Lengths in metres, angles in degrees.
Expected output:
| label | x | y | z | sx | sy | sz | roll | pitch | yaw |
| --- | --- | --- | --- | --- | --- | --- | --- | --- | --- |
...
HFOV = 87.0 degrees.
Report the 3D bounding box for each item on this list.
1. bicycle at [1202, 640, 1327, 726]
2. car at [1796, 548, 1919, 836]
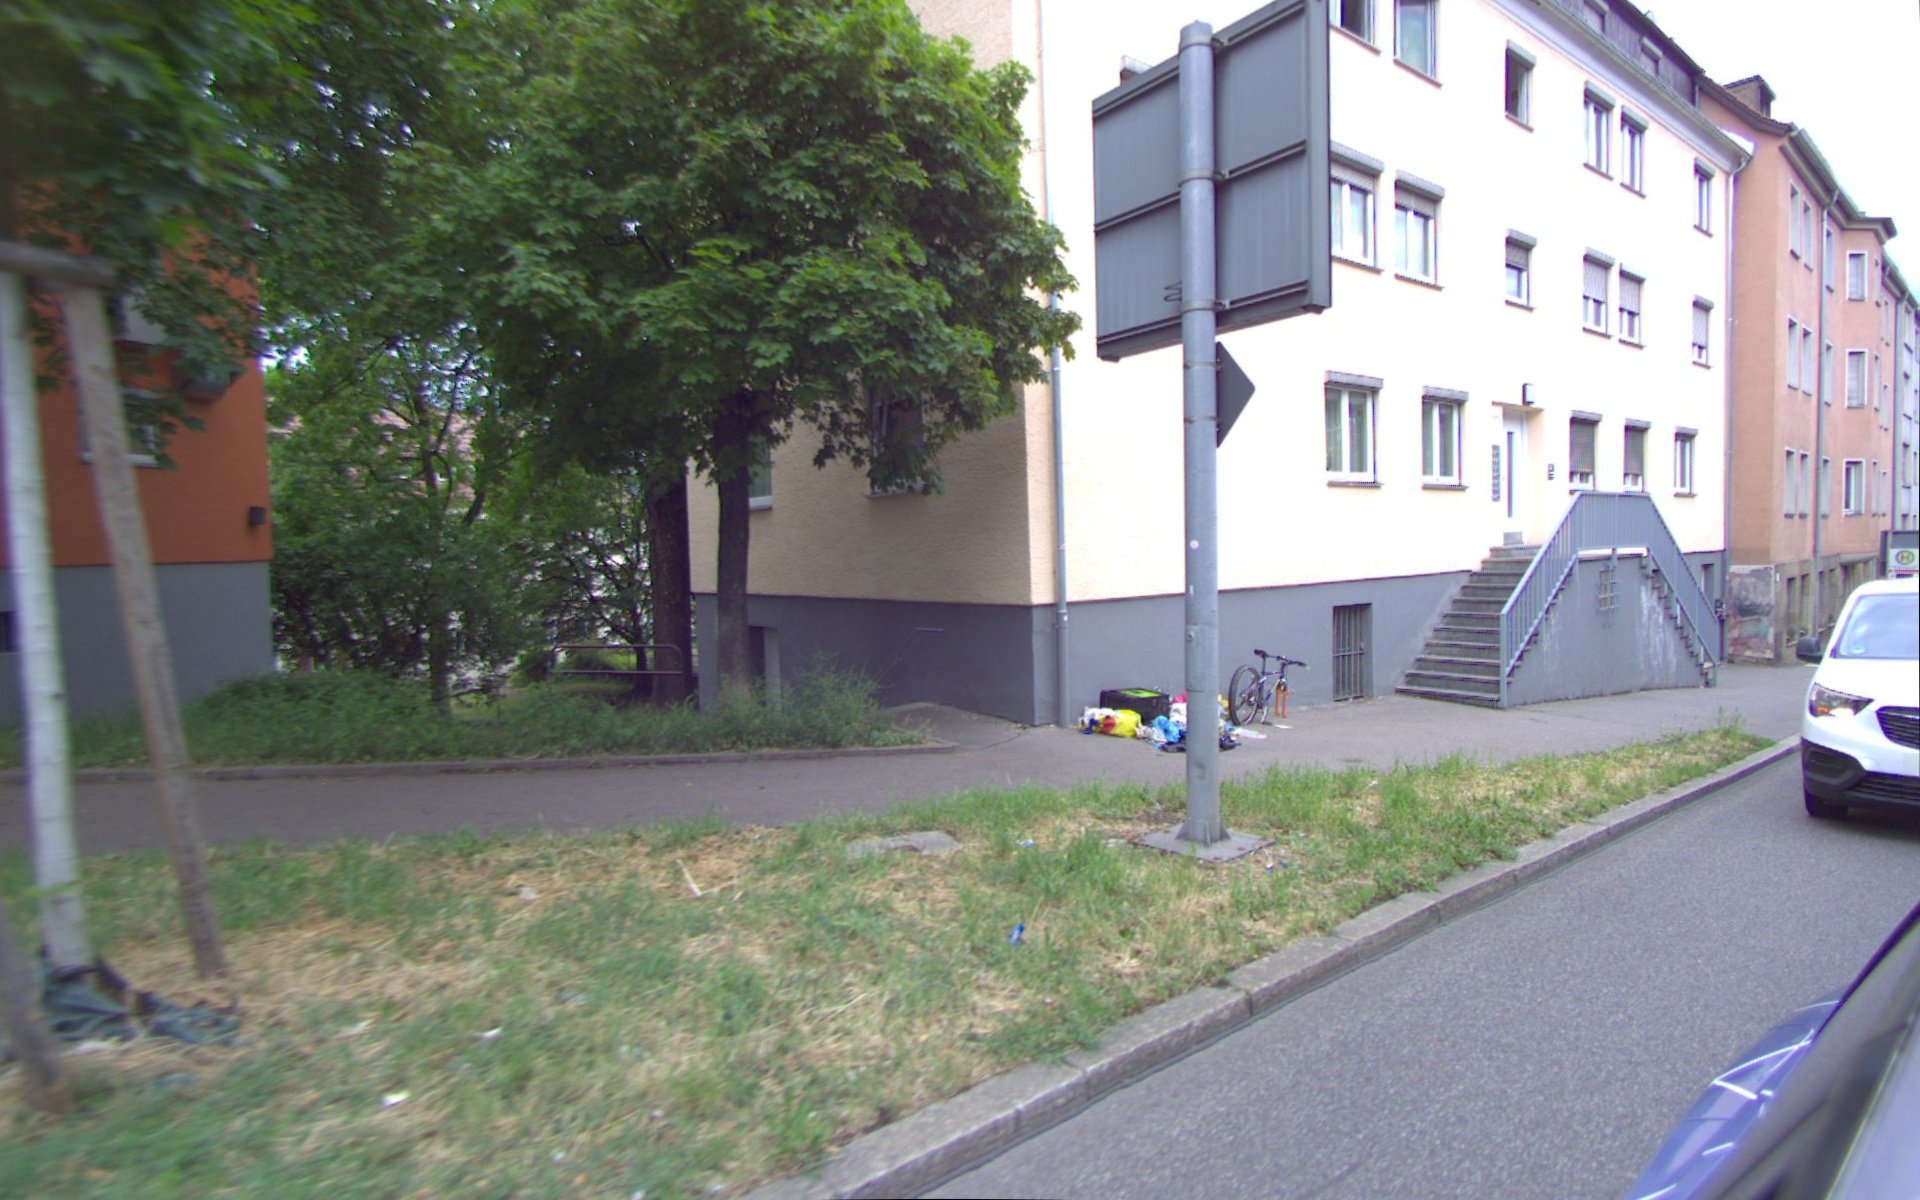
| label | x | y | z | sx | sy | sz | roll | pitch | yaw |
| --- | --- | --- | --- | --- | --- | --- | --- | --- | --- |
| bicycle | 3.278 | 0.859 | 10.839 | 1.530 | 0.782 | 0.489 | 0 | 2 | -39 |
| car | 7.995 | 0.619 | 7.766 | 4.761 | 1.812 | 1.786 | 2 | -2 | -42 |
